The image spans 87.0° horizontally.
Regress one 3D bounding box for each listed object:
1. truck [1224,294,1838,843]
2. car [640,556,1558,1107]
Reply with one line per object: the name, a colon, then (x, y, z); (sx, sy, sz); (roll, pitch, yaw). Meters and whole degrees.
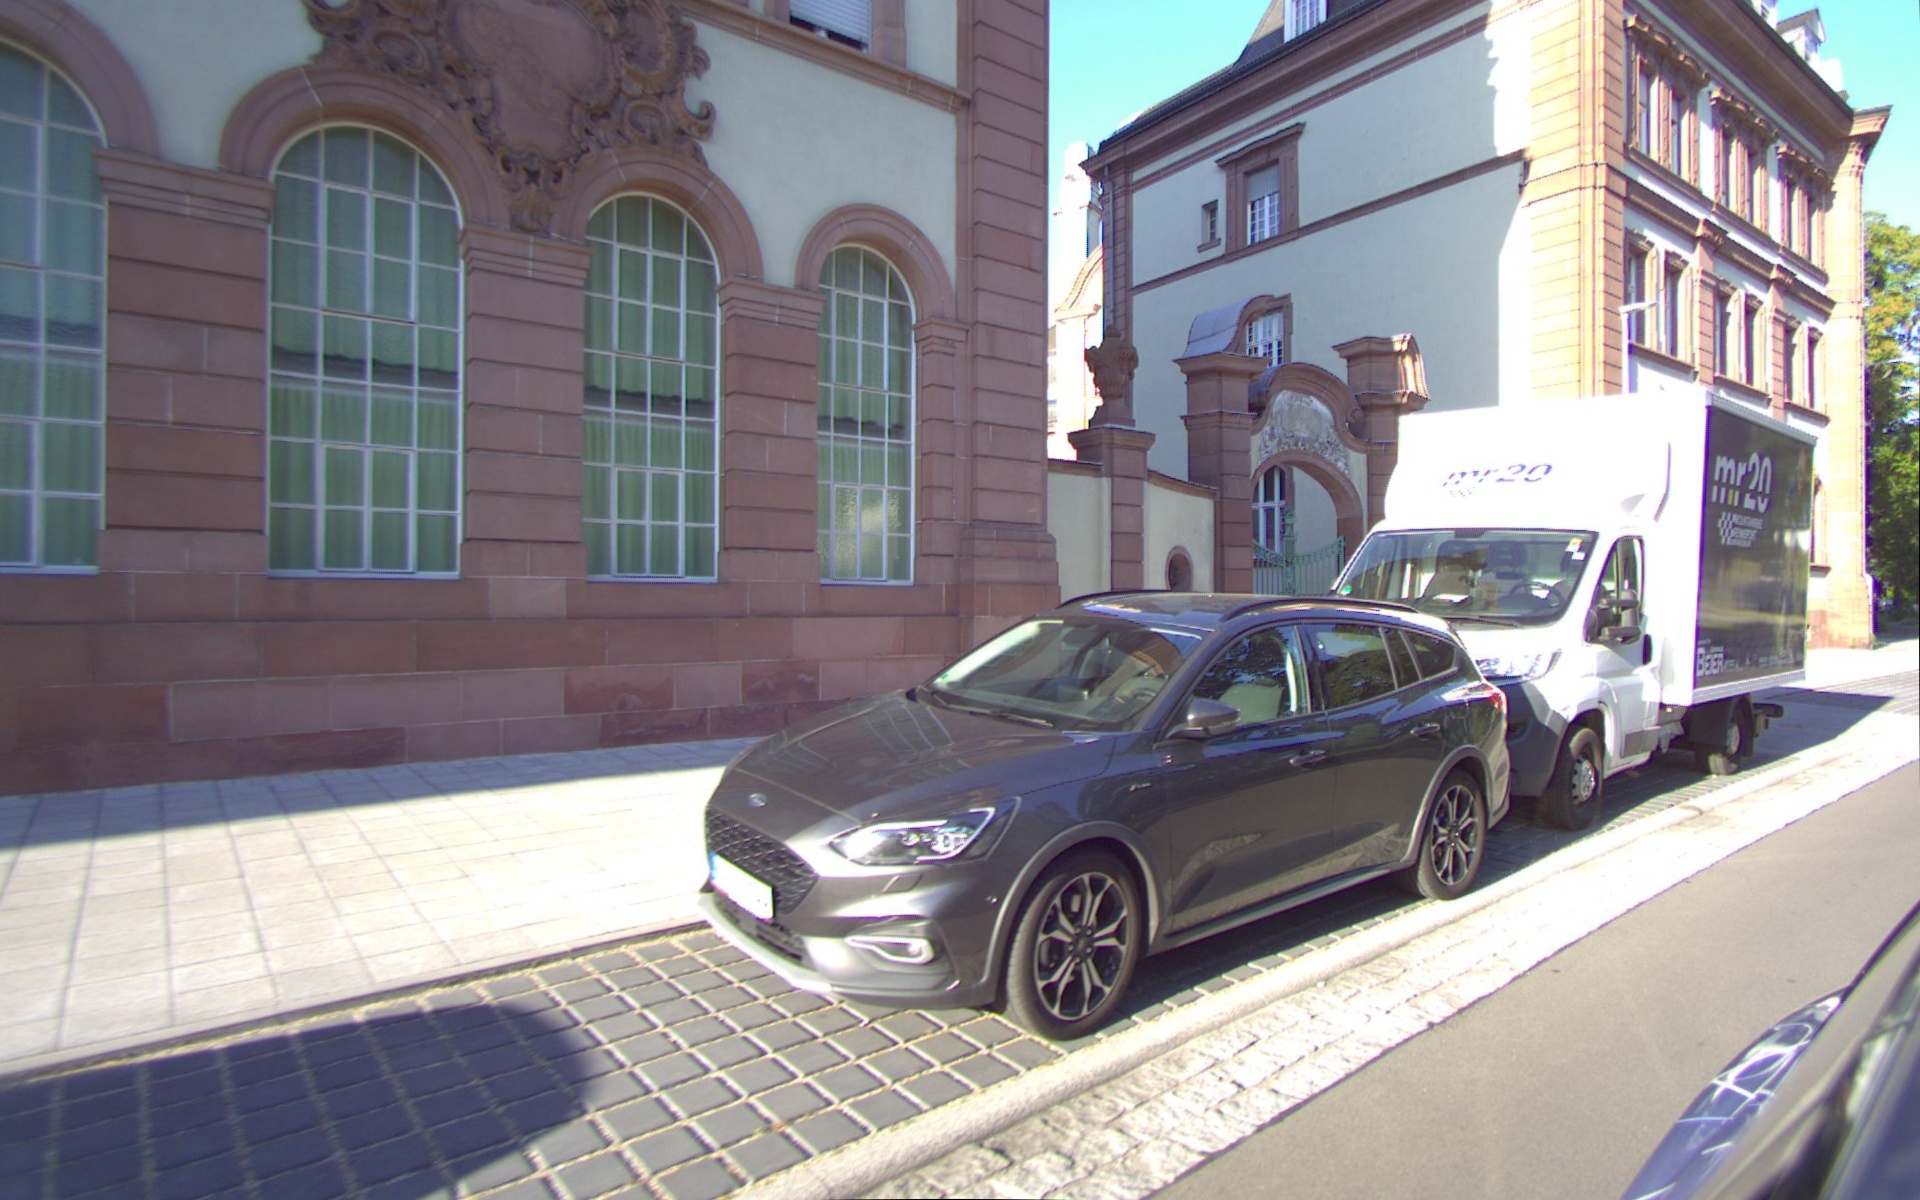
truck: (5.214, -0.225, 8.771); (5.979, 3.159, 2.630); (0, 2, -40)
car: (0.971, 0.621, 4.921); (4.488, 1.549, 1.773); (0, 2, -38)
